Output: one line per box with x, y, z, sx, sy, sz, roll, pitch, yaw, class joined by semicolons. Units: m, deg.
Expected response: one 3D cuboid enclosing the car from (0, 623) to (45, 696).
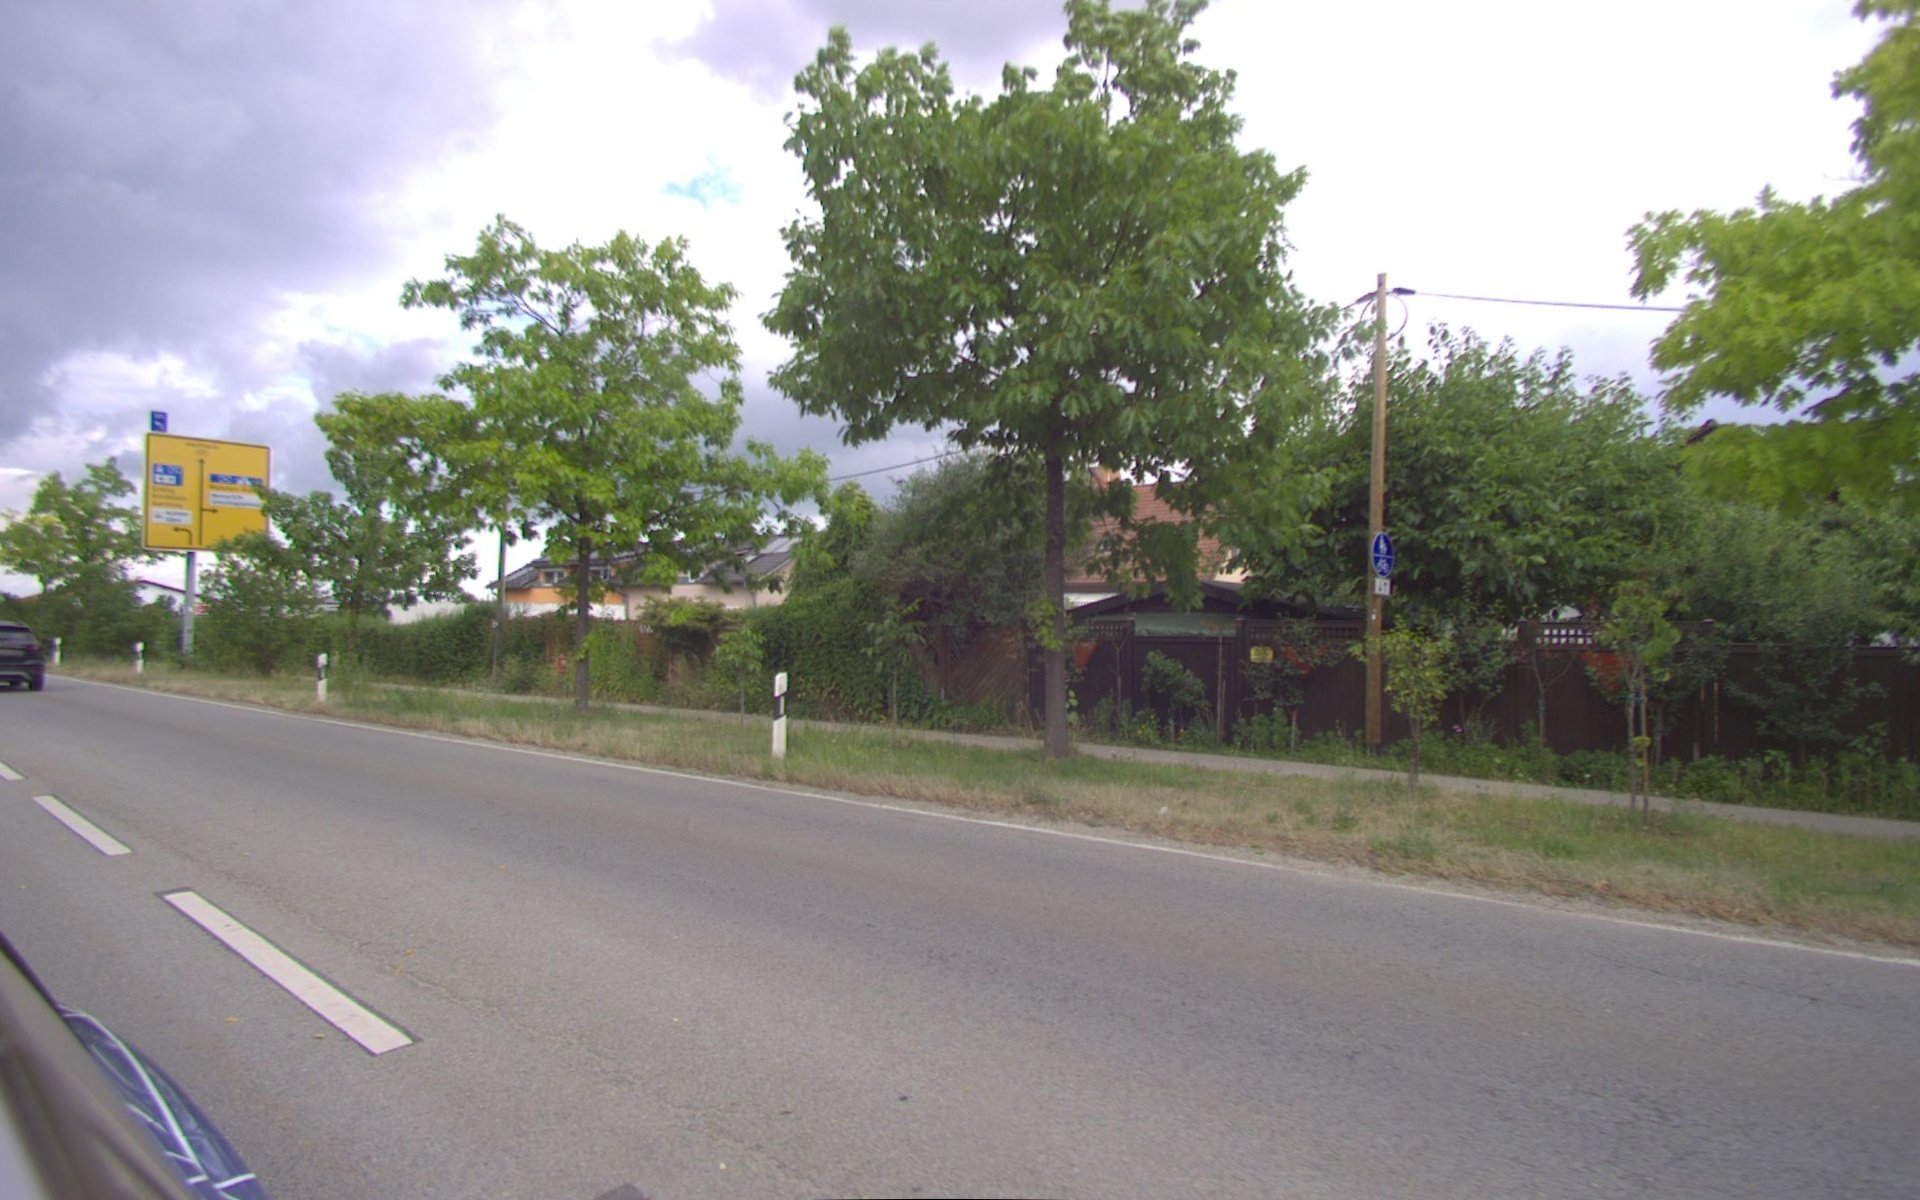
-22.219;1.300;22.807;4.090;1.546;1.716;-1;-4;39;car
